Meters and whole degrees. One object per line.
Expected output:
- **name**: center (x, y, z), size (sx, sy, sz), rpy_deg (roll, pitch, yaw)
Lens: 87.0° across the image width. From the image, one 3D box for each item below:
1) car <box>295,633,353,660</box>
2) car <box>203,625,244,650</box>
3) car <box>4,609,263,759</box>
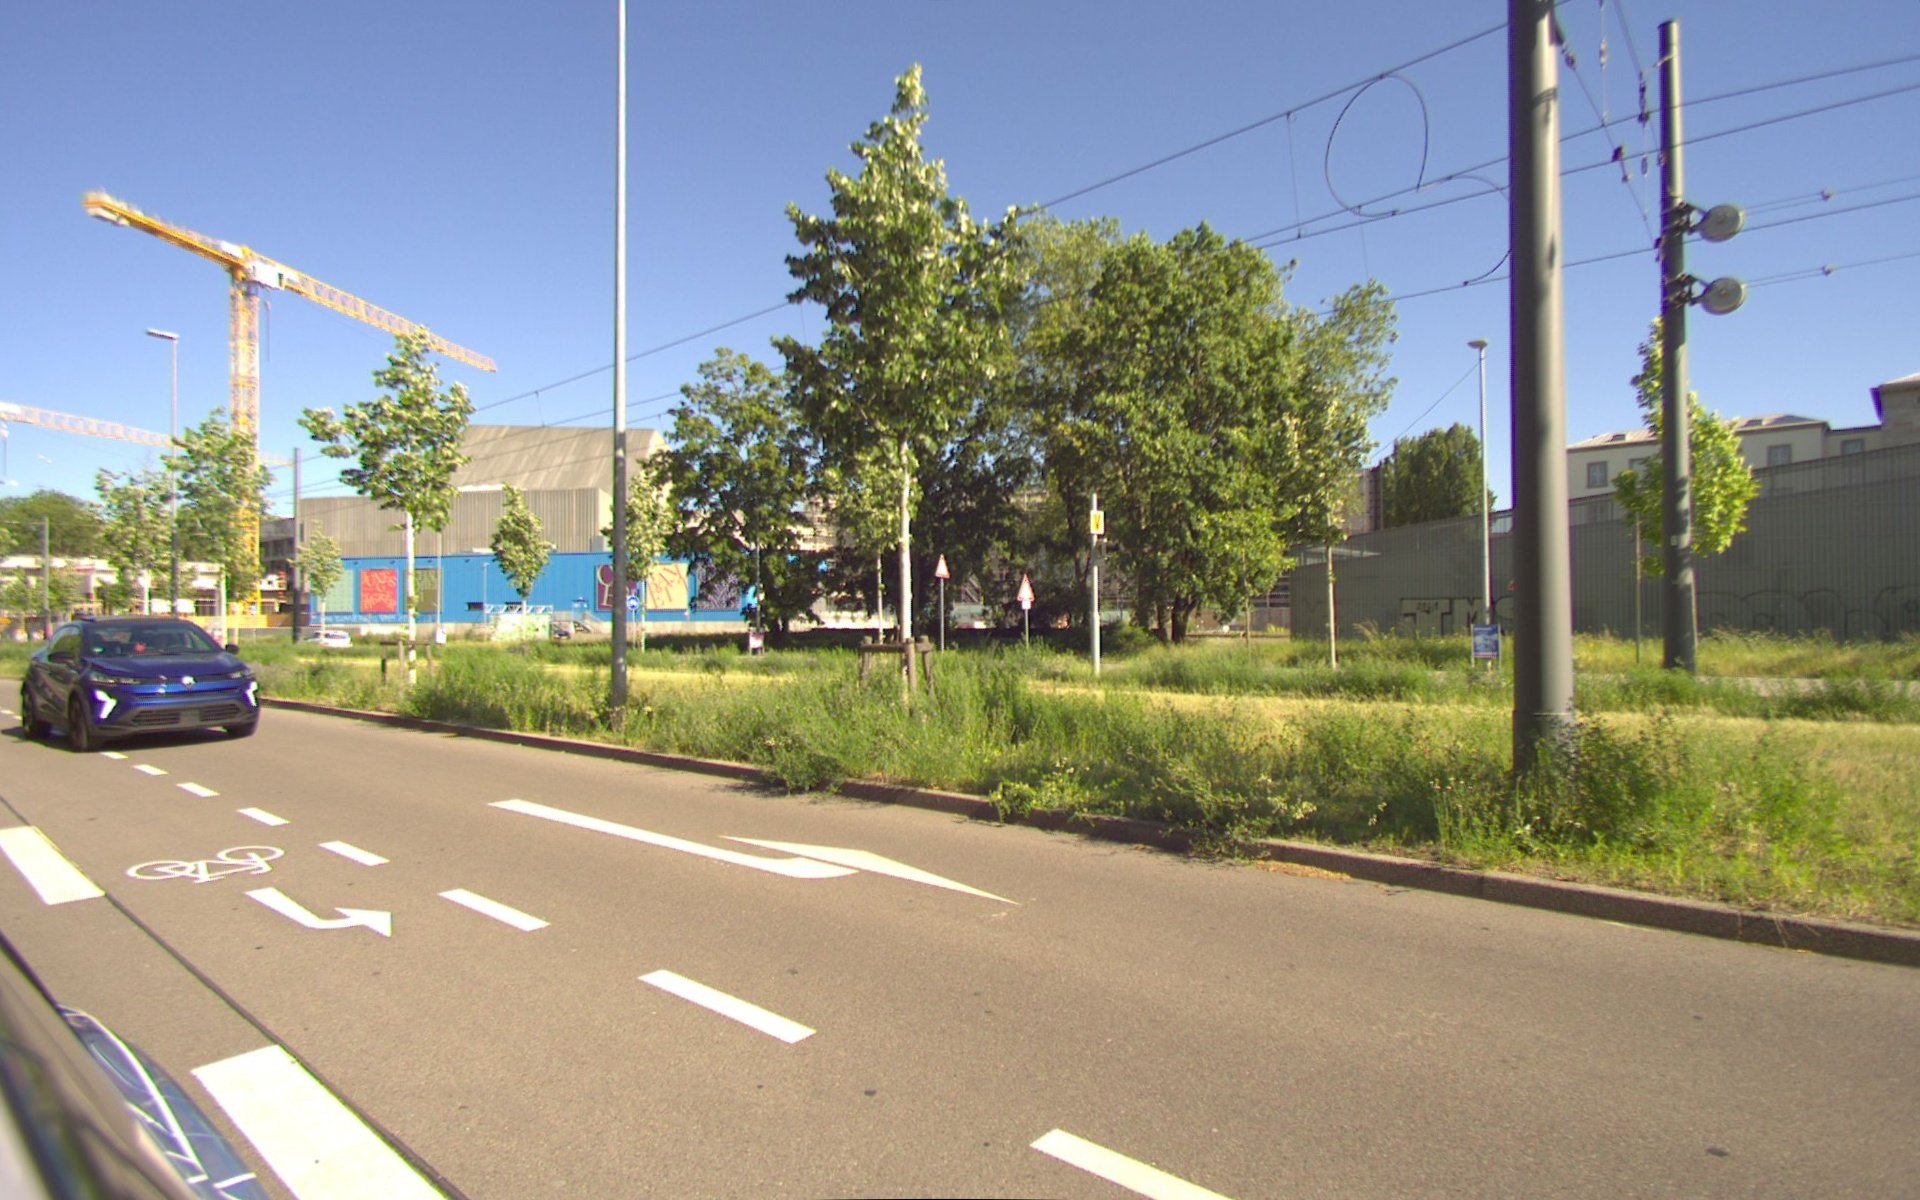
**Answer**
- **car**: center (-35.187, 2.549, 55.933), size (3.829, 1.409, 1.616), rpy_deg (-2, -1, 40)
- **car**: center (-59.095, 2.974, 81.166), size (3.998, 1.811, 1.779), rpy_deg (-1, 1, 42)
- **car**: center (-10.749, 0.985, 13.071), size (4.146, 1.635, 1.728), rpy_deg (-2, -1, 38)
